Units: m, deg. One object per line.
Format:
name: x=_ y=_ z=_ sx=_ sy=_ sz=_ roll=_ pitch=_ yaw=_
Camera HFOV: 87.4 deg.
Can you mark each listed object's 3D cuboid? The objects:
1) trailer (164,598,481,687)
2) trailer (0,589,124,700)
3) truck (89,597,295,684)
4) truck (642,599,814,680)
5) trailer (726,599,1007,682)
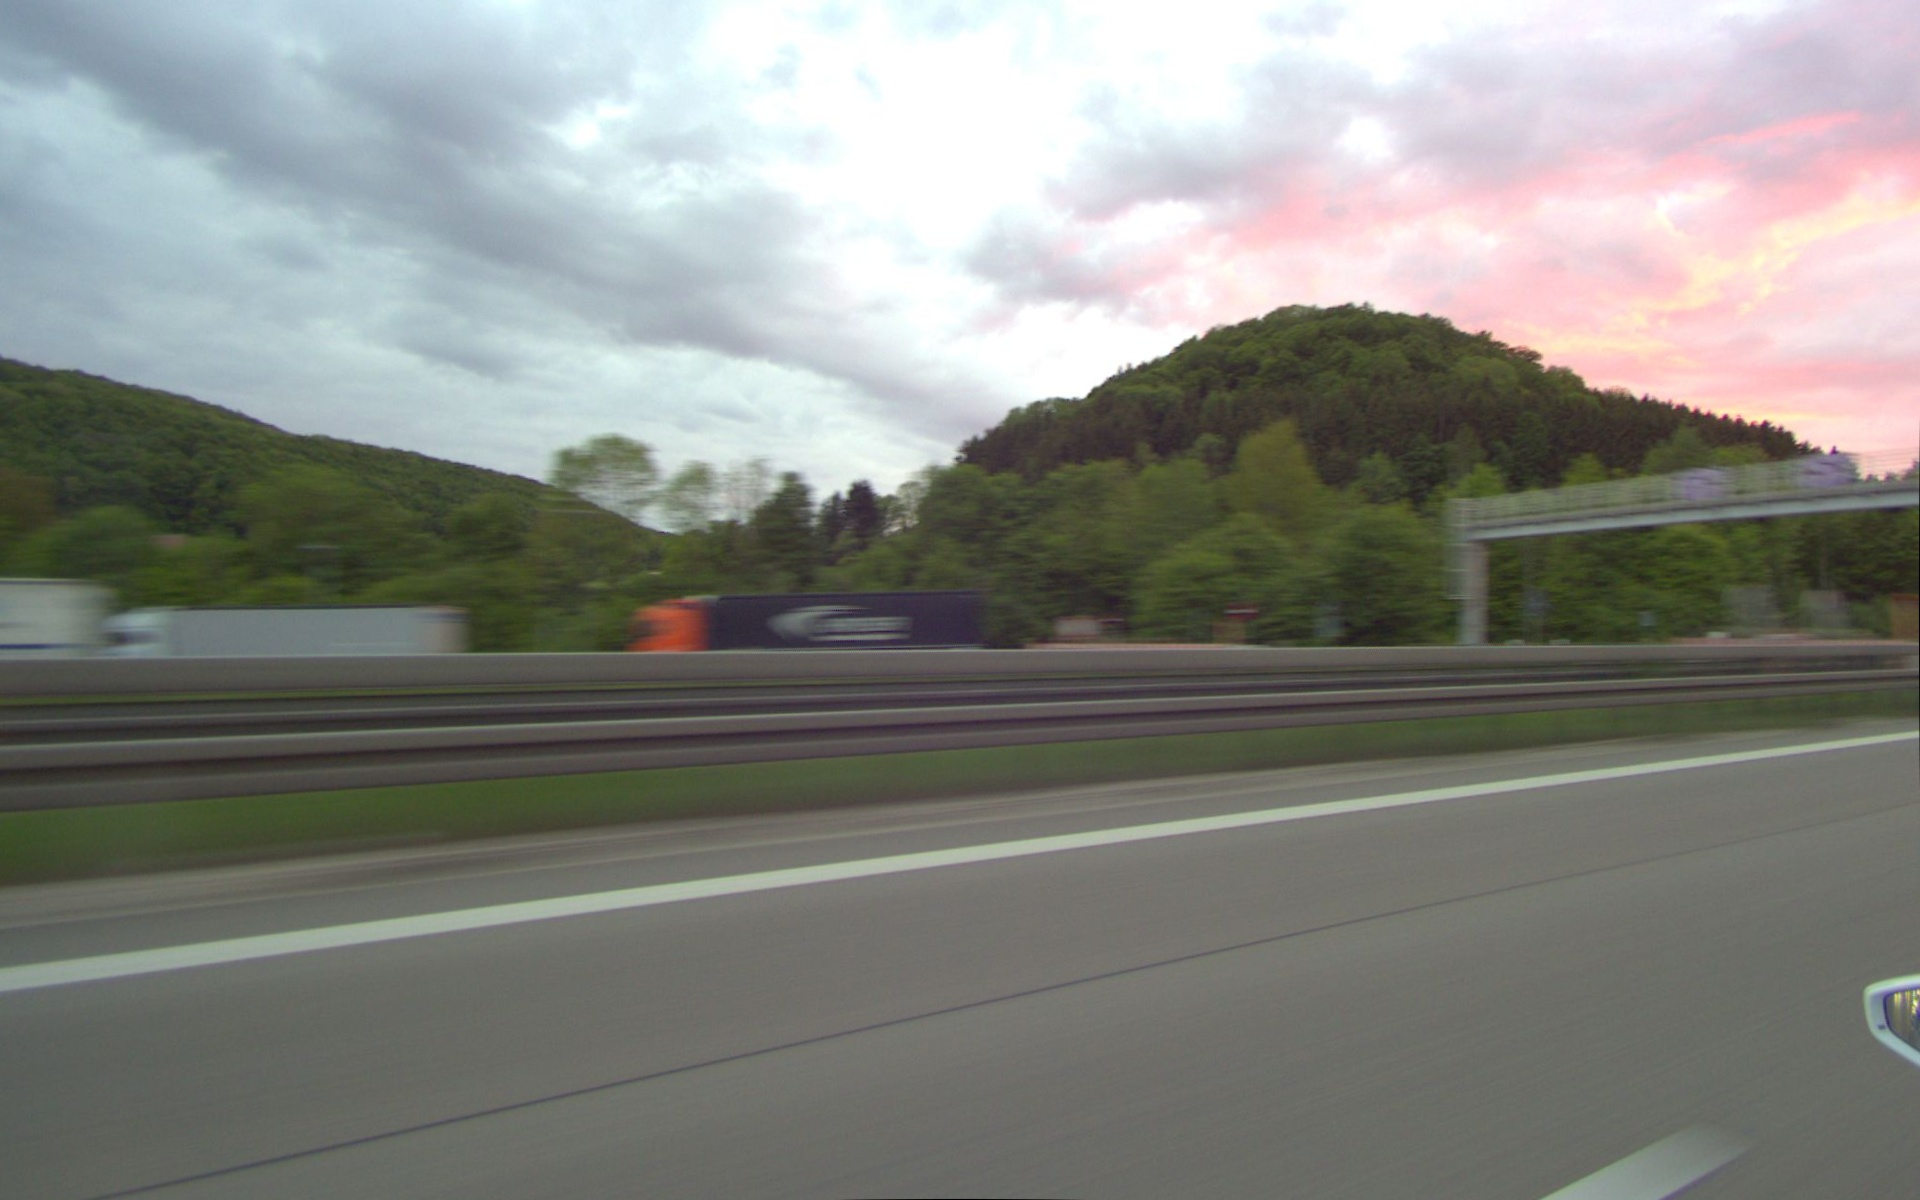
trailer: x=-31.589 y=2.088 z=50.061 sx=14.153 sy=4.160 sz=3.292 roll=0 pitch=-2 yaw=5
trailer: x=-36.214 y=1.456 z=33.372 sx=12.563 sy=3.727 sz=2.860 roll=1 pitch=-1 yaw=-30
truck: x=-38.633 y=2.021 z=50.720 sx=8.050 sy=4.160 sz=3.292 roll=0 pitch=-2 yaw=5
truck: x=-11.091 y=1.862 z=48.523 sx=7.526 sy=3.728 sz=3.014 roll=1 pitch=-1 yaw=1
trailer: x=-4.365 y=1.913 z=48.449 sx=13.078 sy=3.728 sz=3.072 roll=1 pitch=-1 yaw=0
